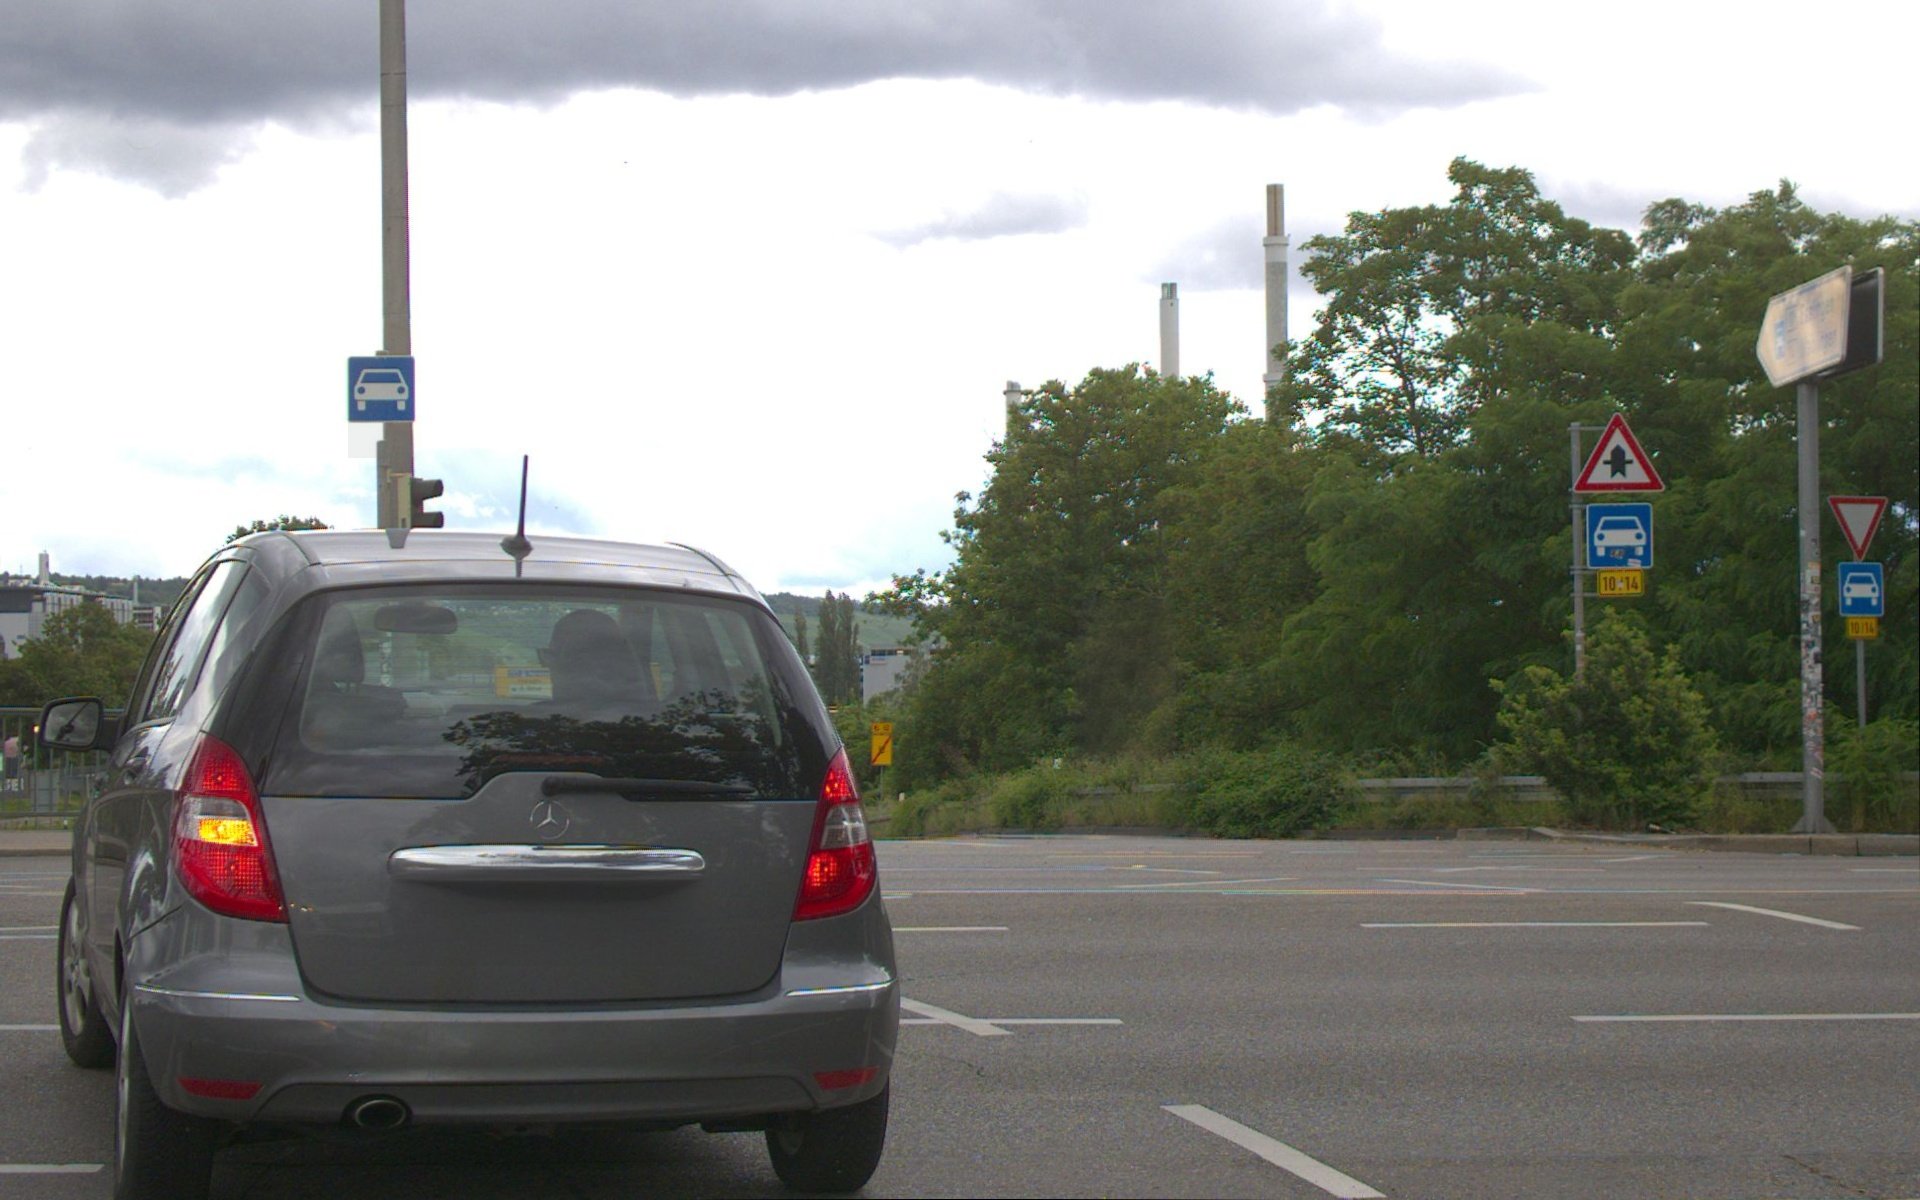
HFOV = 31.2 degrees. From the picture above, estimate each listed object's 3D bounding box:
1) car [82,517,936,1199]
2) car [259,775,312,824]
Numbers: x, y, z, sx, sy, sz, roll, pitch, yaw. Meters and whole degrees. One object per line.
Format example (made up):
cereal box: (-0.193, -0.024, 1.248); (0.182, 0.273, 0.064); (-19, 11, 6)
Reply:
car: (-1.397, 0.605, 9.094); (1.745, 1.545, 3.872); (0, 0, -15)
car: (-33.772, 9.993, 172.095); (1.993, 2.363, 4.589); (-1, -3, -4)
